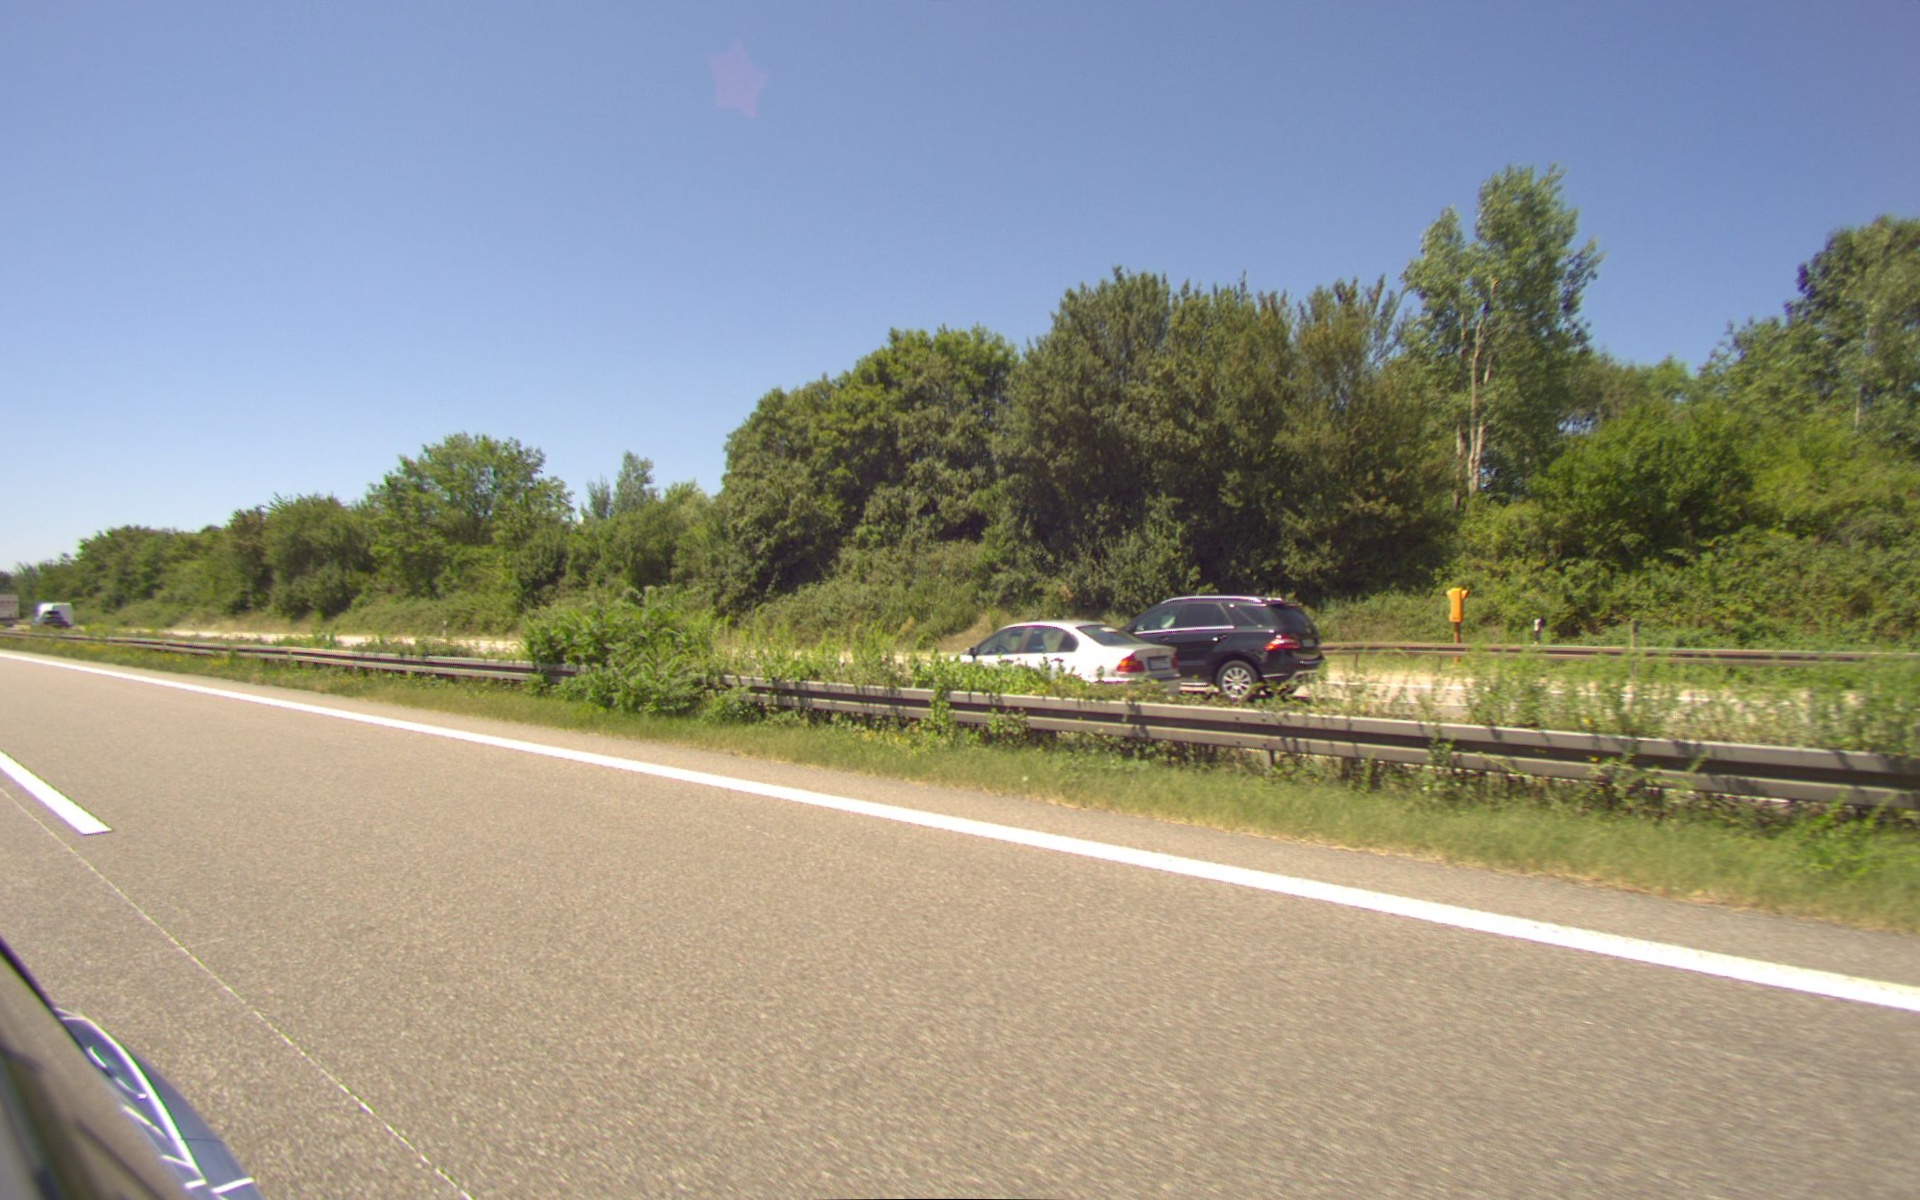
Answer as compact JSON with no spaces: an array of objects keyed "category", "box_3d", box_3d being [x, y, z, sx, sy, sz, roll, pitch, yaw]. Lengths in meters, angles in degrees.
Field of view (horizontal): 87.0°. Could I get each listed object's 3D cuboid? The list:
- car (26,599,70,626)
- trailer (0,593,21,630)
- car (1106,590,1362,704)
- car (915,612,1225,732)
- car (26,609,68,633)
[{"category":"car","box_3d":[-90.928,1.228,100.866,7.384,2.596,2.206,-1,-2,40]},{"category":"trailer","box_3d":[-116.327,1.405,121.911,13.542,4.216,2.679,-1,-2,39]},{"category":"car","box_3d":[4.680,0.755,17.636,4.000,1.767,1.649,-1,-1,43]},{"category":"car","box_3d":[1.512,0.949,15.053,4.391,1.525,1.744,-1,-1,41]},{"category":"car","box_3d":[-75.274,1.691,83.439,4.951,1.920,1.808,-1,-1,39]}]
